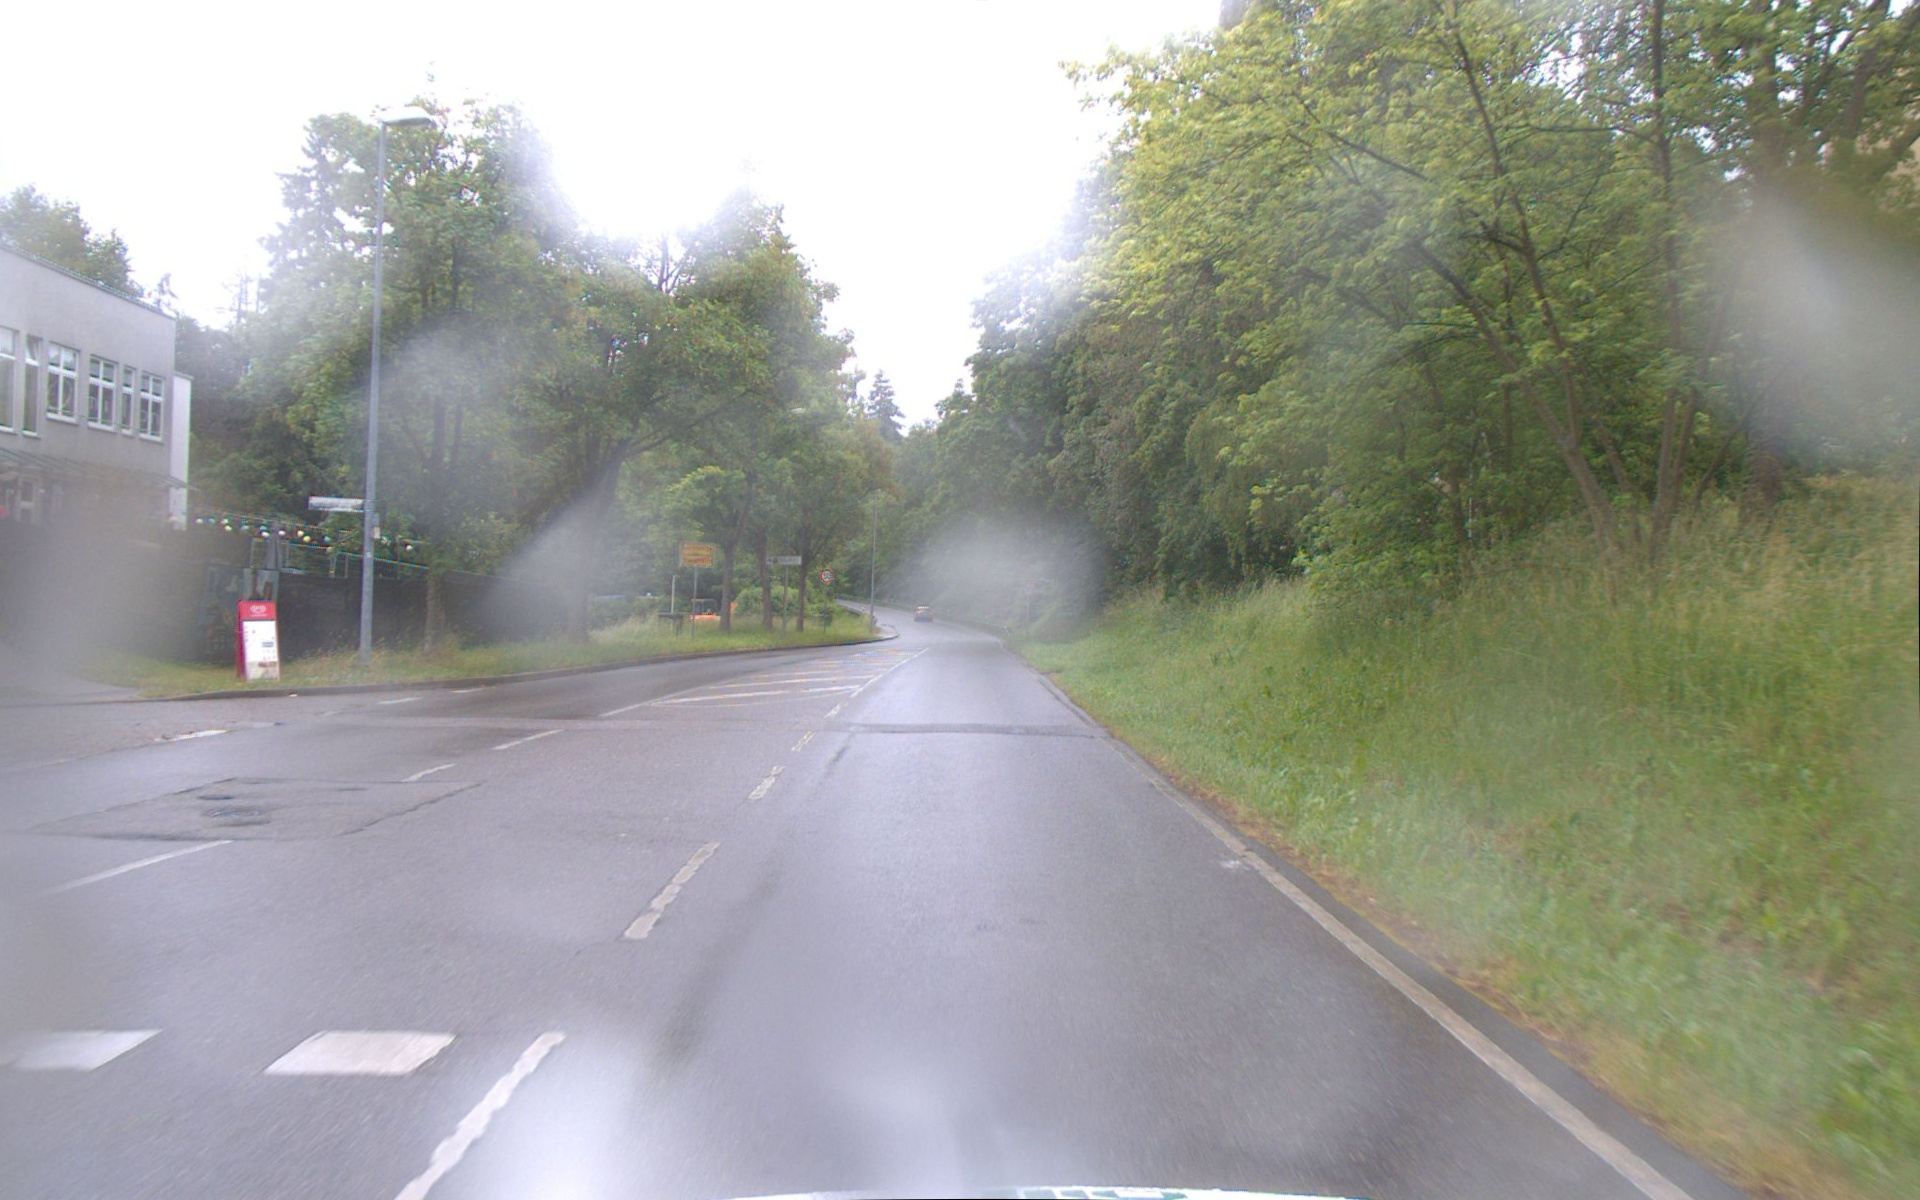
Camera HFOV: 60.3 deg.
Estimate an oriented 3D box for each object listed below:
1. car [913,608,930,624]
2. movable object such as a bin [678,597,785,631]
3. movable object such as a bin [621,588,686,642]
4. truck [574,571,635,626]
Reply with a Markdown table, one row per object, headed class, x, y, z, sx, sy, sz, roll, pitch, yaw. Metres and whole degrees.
| class | x | y | z | sx | sy | sz | roll | pitch | yaw |
| --- | --- | --- | --- | --- | --- | --- | --- | --- | --- |
| car | -3.994 | 1.622 | 169.851 | 1.701 | 1.537 | 3.999 | 0 | 0 | -2 |
| movable object such as a bin | -13.625 | 0.866 | 99.345 | 1.812 | 1.941 | 7.890 | 0 | -1 | 31 |
| movable object such as a bin | -17.142 | 0.869 | 92.588 | 1.951 | 2.911 | 4.002 | 2 | -1 | 15 |
| truck | -17.429 | -0.086 | 81.361 | 1.953 | 2.501 | 5.221 | 2 | 0 | -2 |
